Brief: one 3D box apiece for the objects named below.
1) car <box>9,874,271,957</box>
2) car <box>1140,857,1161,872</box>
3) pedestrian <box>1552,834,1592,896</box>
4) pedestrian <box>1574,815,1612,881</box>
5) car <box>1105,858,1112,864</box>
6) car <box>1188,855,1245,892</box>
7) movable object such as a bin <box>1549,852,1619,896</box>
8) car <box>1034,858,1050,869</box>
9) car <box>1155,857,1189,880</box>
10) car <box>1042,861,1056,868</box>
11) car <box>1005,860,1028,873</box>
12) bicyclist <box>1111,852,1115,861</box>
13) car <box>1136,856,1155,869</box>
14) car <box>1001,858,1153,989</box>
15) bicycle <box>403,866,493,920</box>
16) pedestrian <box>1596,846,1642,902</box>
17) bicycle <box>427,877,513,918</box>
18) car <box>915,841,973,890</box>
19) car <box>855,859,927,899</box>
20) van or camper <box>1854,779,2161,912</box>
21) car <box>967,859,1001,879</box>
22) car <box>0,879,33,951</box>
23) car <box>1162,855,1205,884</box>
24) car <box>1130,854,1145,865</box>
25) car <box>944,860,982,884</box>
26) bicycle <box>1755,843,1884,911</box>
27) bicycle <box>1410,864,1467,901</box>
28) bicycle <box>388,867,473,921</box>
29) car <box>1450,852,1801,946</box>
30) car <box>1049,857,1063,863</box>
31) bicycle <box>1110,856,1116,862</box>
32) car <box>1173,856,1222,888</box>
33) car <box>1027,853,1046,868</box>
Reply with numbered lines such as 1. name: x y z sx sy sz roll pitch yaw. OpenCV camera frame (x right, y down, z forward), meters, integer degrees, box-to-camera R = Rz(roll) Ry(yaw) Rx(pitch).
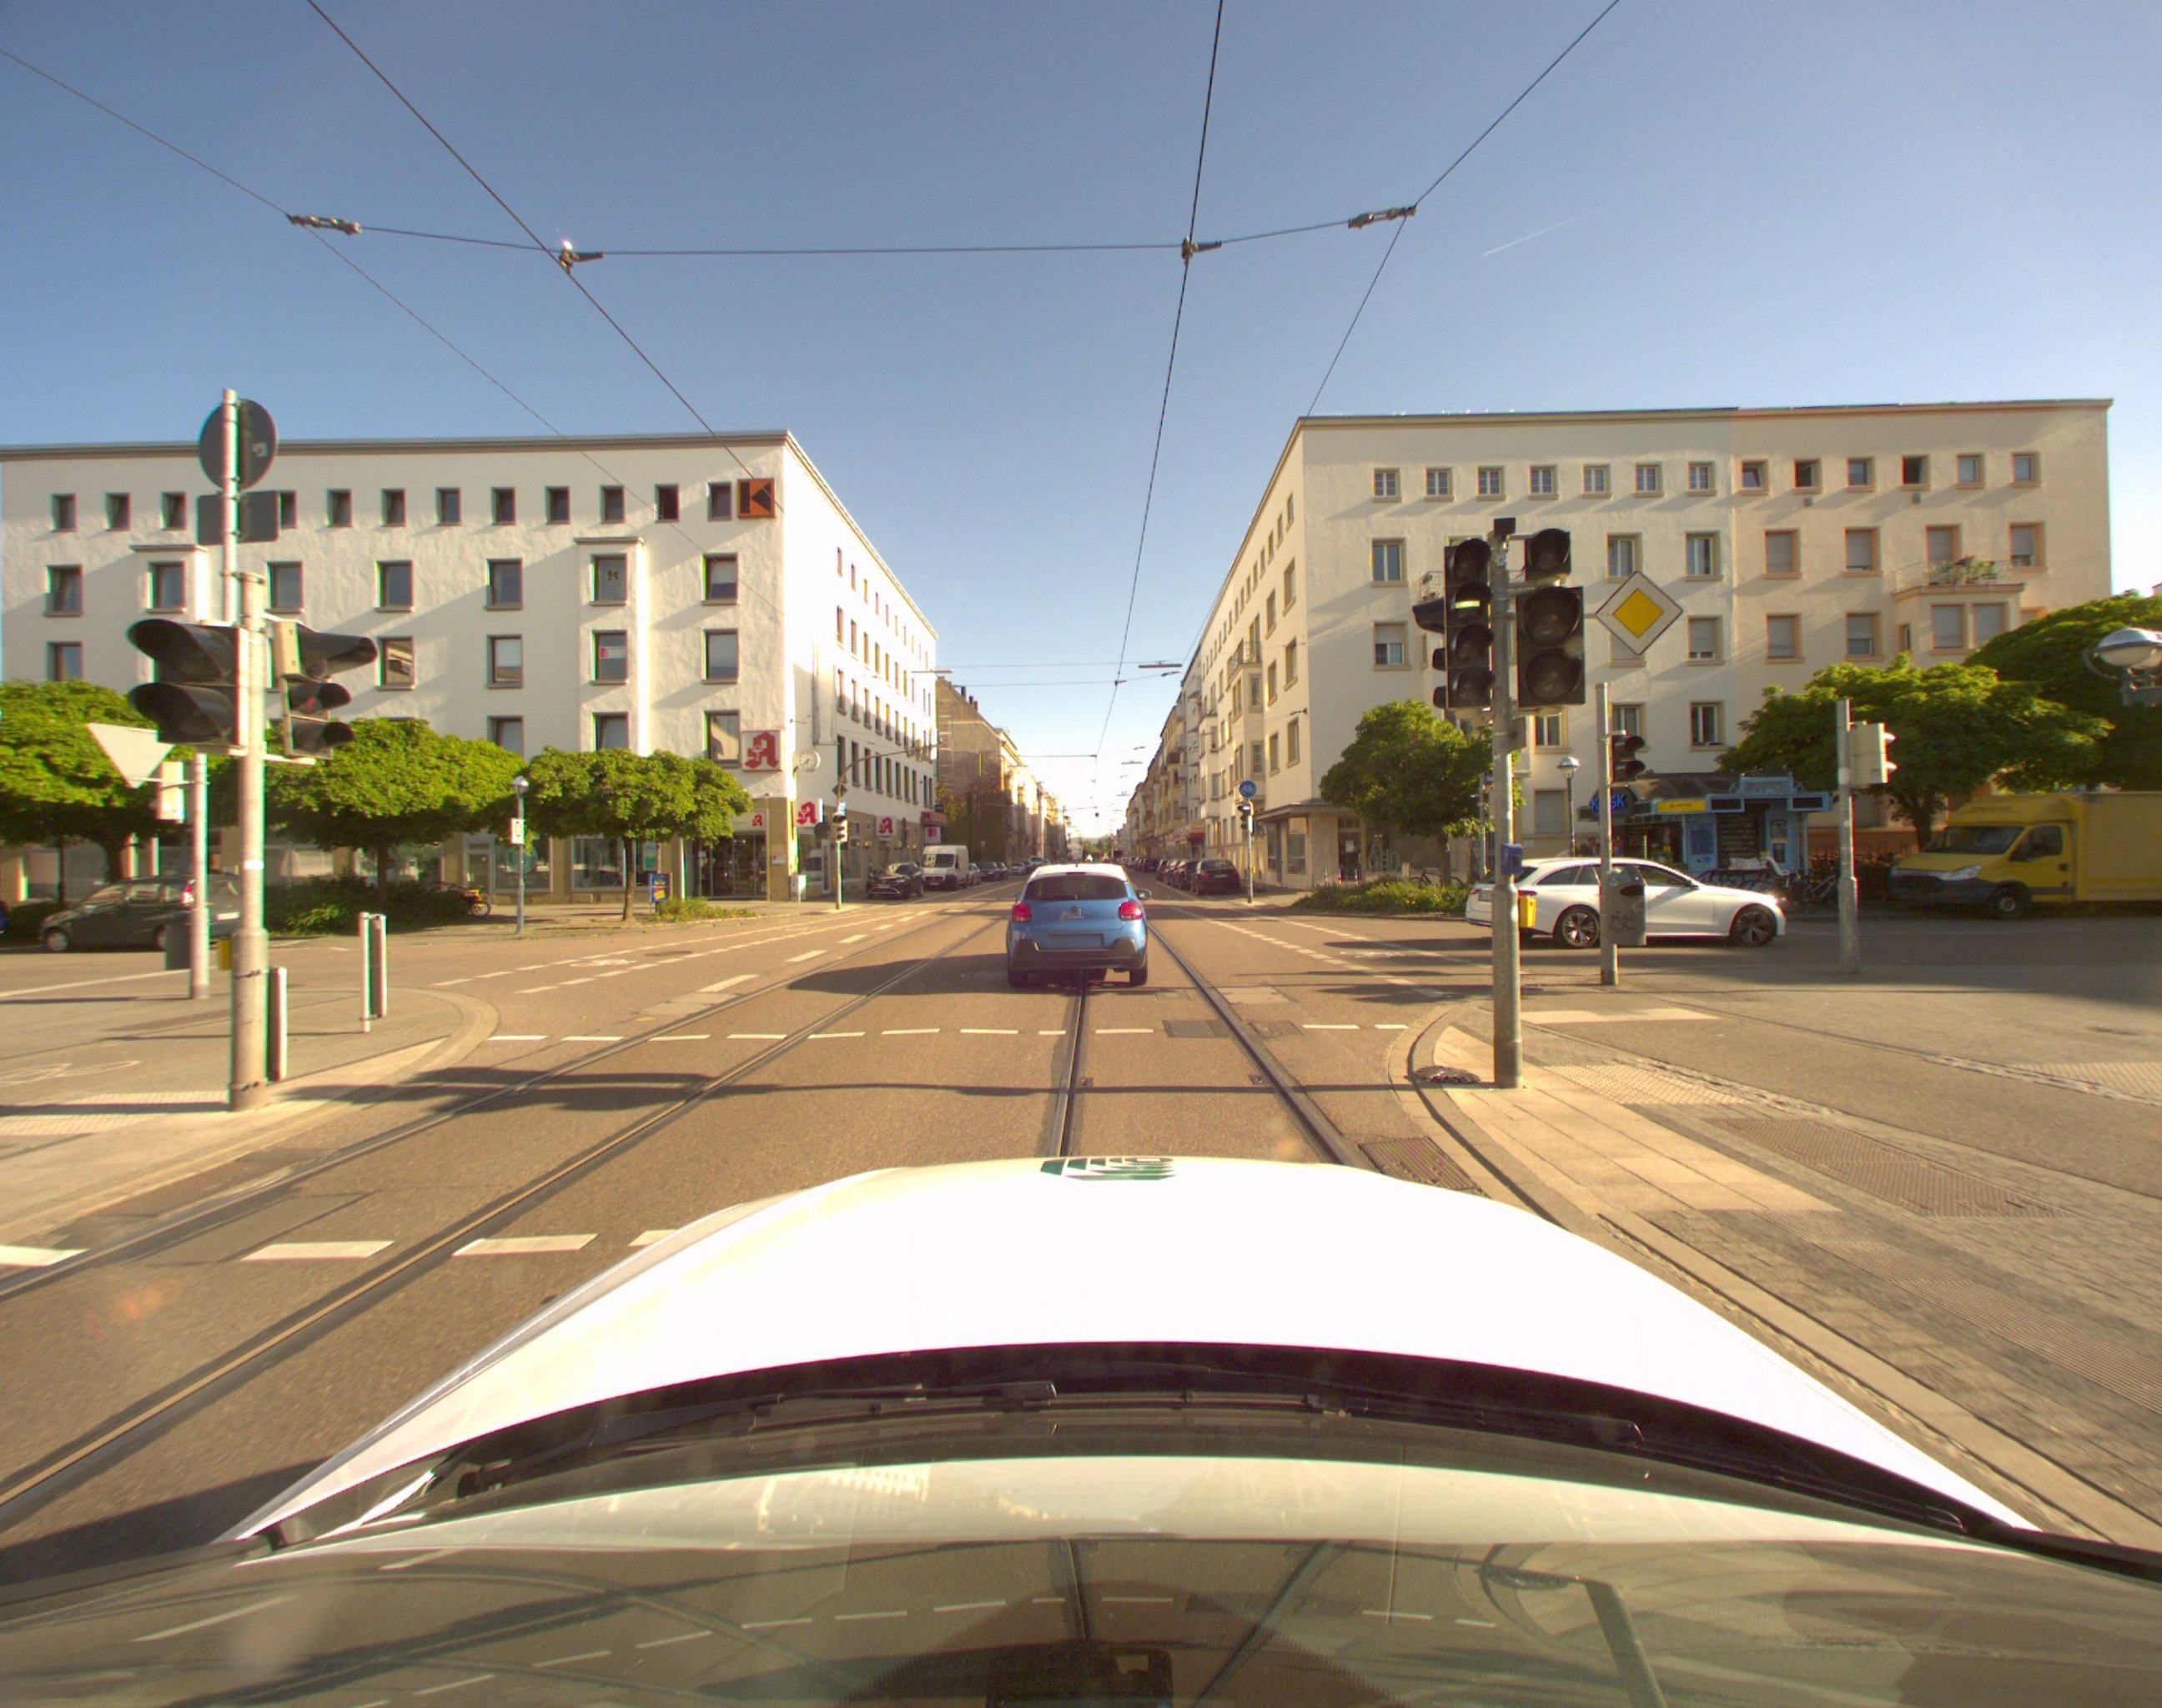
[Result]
1. car: -21.735 1.386 18.926 3.972 1.706 1.826 -1 0 1
2. car: 7.153 1.027 84.539 1.985 1.464 4.507 -1 0 2
3. pedestrian: 14.847 0.331 24.647 0.781 1.839 0.679 -1 -1 5
4. pedestrian: 14.589 -0.167 23.224 0.650 1.839 0.660 -1 -1 5
5. car: 8.584 2.202 253.781 1.986 1.772 4.002 -1 0 2
6. car: 5.746 0.809 34.889 1.902 1.464 4.002 -1 0 2
7. movable object such as a bin: 13.883 0.546 22.514 1.194 1.153 1.218 -1 0 2
8. car: -5.725 1.375 119.930 1.946 1.552 3.942 0 -1 4
9. car: 6.106 0.936 55.207 1.985 1.464 4.002 -1 0 2
10. car: -5.379 1.781 136.959 1.985 1.156 4.002 -1 0 2
11. car: -6.790 1.355 86.099 1.987 1.325 3.923 0 -1 1
12. bicyclist: 7.526 0.653 192.567 0.805 2.014 0.924 0 -1 5
13. car: 7.244 0.967 92.347 1.985 1.464 4.002 -1 0 2
14. car: 0.013 0.803 11.180 1.721 1.482 3.828 0 0 2
15. bicycle: -20.313 1.226 26.241 0.614 1.607 2.625 -1 0 6
16. pedestrian: 14.231 0.513 21.549 0.727 1.409 0.755 -1 3 2
17. bicycle: -19.589 1.376 26.198 0.615 1.190 2.624 -1 0 5
18. car: -7.582 0.594 45.595 2.078 2.542 6.206 0 0 1
19. car: -8.126 1.044 35.235 1.987 1.569 4.403 2 -1 1
20. van or camper: 22.367 -0.234 18.567 7.093 2.747 2.372 -1 1 2
21. car: -7.196 1.125 60.809 1.987 1.398 4.157 0 -1 1
22. car: -27.676 1.492 18.675 4.591 1.662 1.999 -1 0 -1
23. car: 5.632 0.832 45.197 1.985 1.501 4.002 -1 0 2
24. car: 7.966 0.764 115.862 1.985 1.464 4.002 -1 0 2
25. car: -7.555 1.136 52.472 1.881 1.496 3.562 0 -1 1
26. bicycle: 17.226 0.530 19.025 2.376 1.531 0.726 0 0 0
27. bicycle: 10.940 0.885 24.942 1.556 1.120 0.301 -1 -1 12
28. bicycle: -21.001 1.246 26.367 0.616 1.607 2.620 -1 0 0
29. car: 9.172 0.720 14.016 4.786 1.464 1.990 0 0 -2
30. car: -5.162 1.280 167.684 1.981 1.156 4.528 -2 0 11
31. bicycle: 7.618 1.231 192.696 0.914 1.389 3.141 -1 0 11
32. car: 5.688 0.846 40.244 1.985 1.464 4.002 -1 0 2
33. car: -6.012 0.895 109.606 1.997 2.014 4.694 0 -1 4
